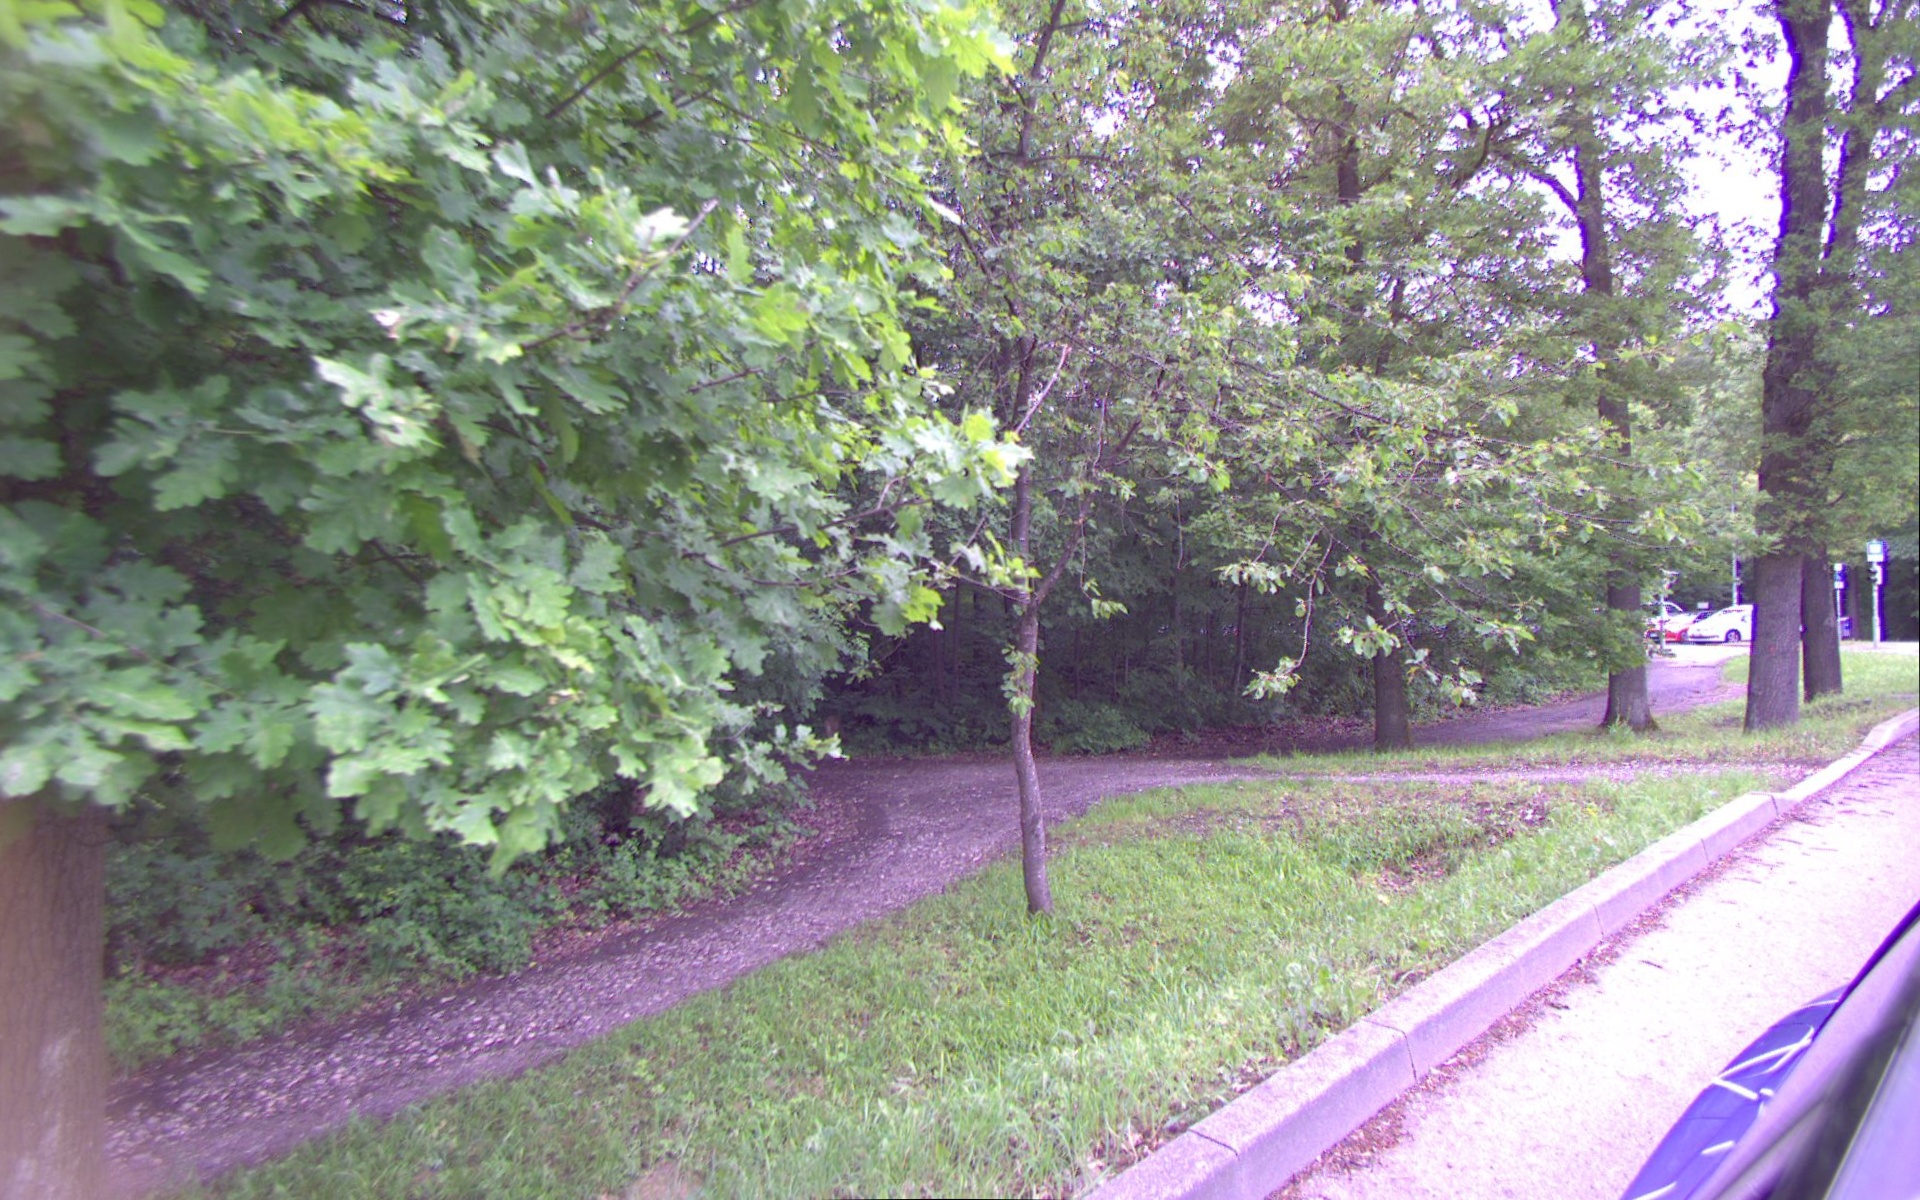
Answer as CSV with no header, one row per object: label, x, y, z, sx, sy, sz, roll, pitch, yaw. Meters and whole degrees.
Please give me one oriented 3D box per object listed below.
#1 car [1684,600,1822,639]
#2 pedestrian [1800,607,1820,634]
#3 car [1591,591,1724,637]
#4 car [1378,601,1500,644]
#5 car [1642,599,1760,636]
car,33.480,0.839,42.800,4.332,1.572,2.001,-1,-2,-6
pedestrian,54.988,1.330,65.485,1.018,1.672,0.831,1,-3,-44
car,33.000,0.675,47.935,5.076,1.983,2.065,-2,-2,-10
car,22.239,1.068,47.053,4.847,1.903,2.003,0,-2,-11
car,33.071,0.775,45.246,3.919,1.572,1.896,-1,-2,-6
